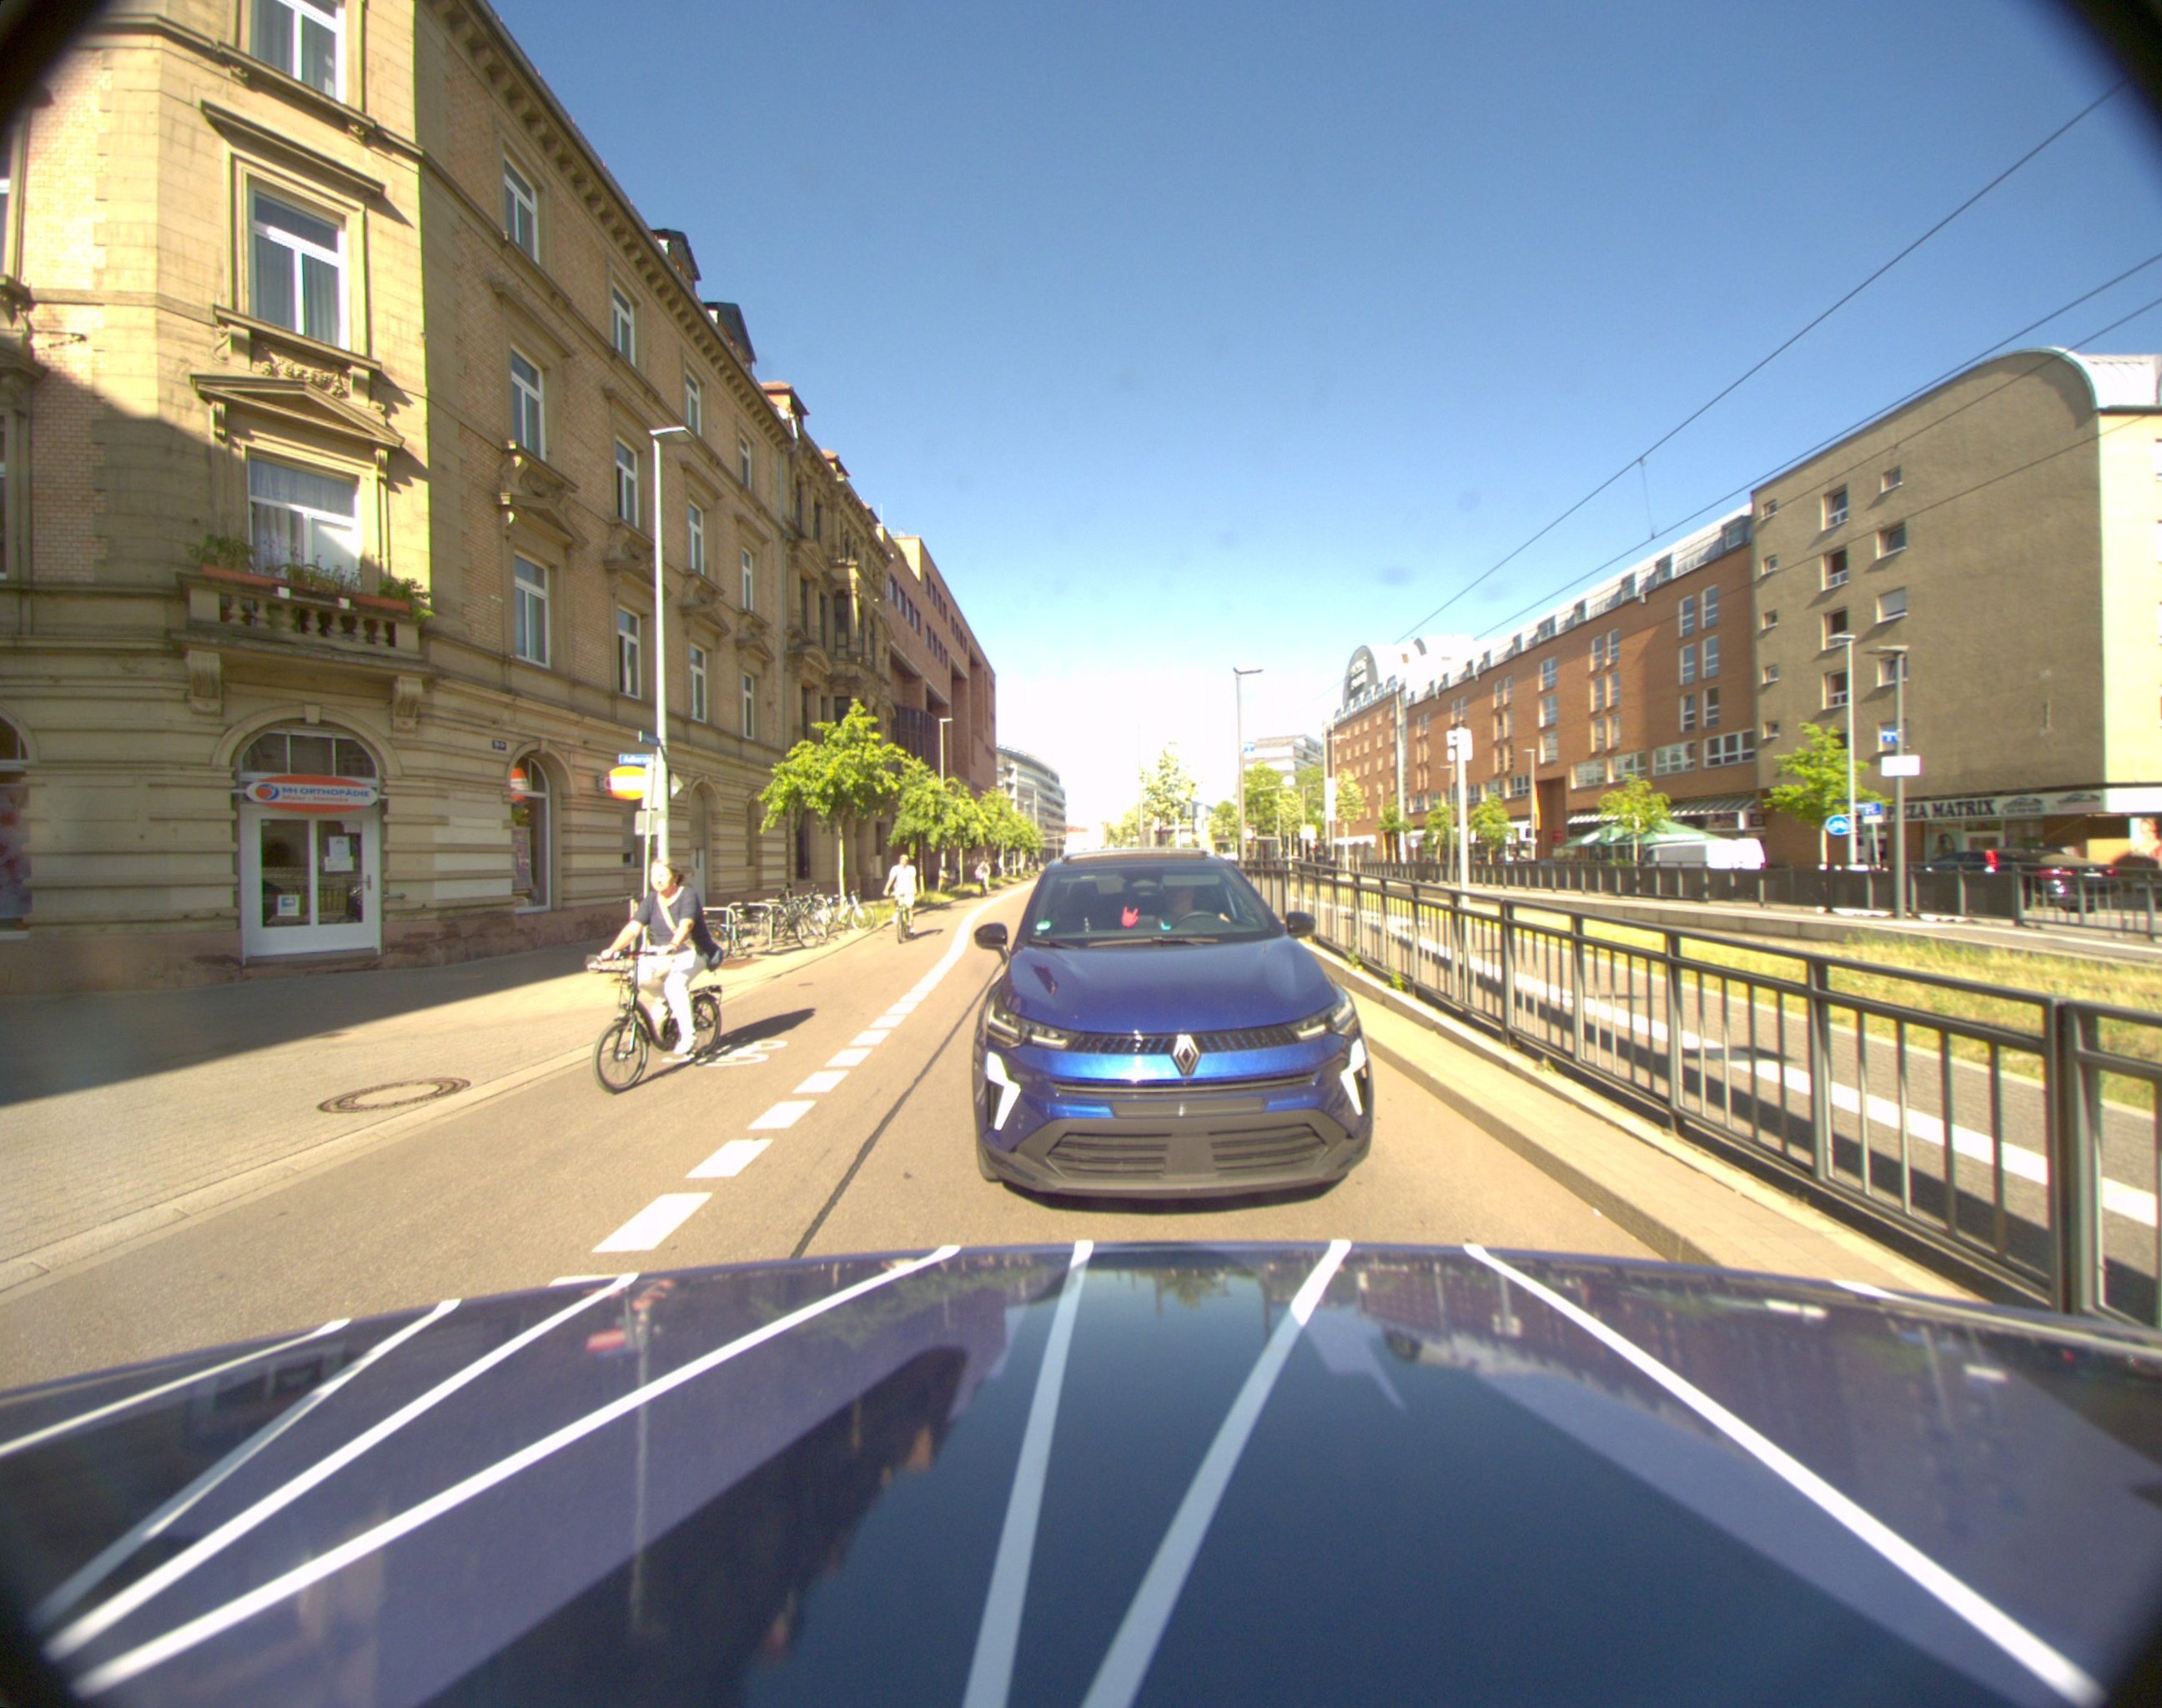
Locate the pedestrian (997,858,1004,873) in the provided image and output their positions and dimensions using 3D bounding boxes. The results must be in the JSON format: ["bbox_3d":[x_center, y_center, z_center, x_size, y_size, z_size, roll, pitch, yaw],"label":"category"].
[{"bbox_3d":[-8.011,1.143,75.400,0.633,1.478,0.736,-1,1,0],"label":"pedestrian"}]

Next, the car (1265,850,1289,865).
[{"bbox_3d":[24.483,0.437,95.191,1.998,1.674,3.999,-2,1,1],"label":"car"}]

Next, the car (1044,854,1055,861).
[{"bbox_3d":[-7.201,0.765,174.250,1.882,1.455,4.001,-2,1,7],"label":"car"}]

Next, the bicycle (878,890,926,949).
[{"bbox_3d":[-3.756,1.354,16.036,0.578,1.090,1.507,-3,0,0],"label":"bicycle"}]

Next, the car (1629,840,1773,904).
[{"bbox_3d":[25.344,0.671,31.412,1.997,2.356,5.649,-1,0,8],"label":"car"}]

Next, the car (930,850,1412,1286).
[{"bbox_3d":[0.379,0.828,4.945,1.802,1.596,3.999,-2,1,1],"label":"car"}]

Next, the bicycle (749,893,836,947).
[{"bbox_3d":[-6.132,1.394,16.194,1.603,1.039,0.607,1,0,4],"label":"bicycle"}]

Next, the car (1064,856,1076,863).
[{"bbox_3d":[-2.467,1.265,173.745,2.120,1.547,4.003,-1,0,9],"label":"car"}]

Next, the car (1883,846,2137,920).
[{"bbox_3d":[24.241,0.694,20.101,1.819,1.749,4.000,-1,0,0],"label":"car"}]

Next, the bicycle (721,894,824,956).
[{"bbox_3d":[-5.929,1.349,14.636,1.727,1.094,0.607,1,0,4],"label":"bicycle"}]

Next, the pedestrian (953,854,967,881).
[{"bbox_3d":[-8.353,0.921,52.586,0.790,1.872,1.106,-1,1,0],"label":"pedestrian"}]

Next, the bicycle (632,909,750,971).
[{"bbox_3d":[-6.399,1.396,12.499,1.673,0.938,0.607,0,0,8],"label":"bicycle"}]

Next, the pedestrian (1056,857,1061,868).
[{"bbox_3d":[-3.152,1.180,106.638,0.774,1.478,0.686,-1,0,1],"label":"pedestrian"}]

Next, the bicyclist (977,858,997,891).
[{"bbox_3d":[-4.678,1.003,37.761,0.755,1.607,0.762,-3,0,4],"label":"bicyclist"}]

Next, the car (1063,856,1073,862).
[{"bbox_3d":[-3.185,1.279,189.589,1.882,1.455,4.001,-2,1,7],"label":"car"}]

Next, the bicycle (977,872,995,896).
[{"bbox_3d":[-4.713,1.466,37.713,0.578,1.090,1.507,-3,0,3],"label":"bicycle"}]

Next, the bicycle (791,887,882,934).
[{"bbox_3d":[-6.025,1.385,18.806,2.001,1.086,0.846,1,0,-9],"label":"bicycle"}]

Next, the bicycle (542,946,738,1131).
[{"bbox_3d":[-3.263,1.312,5.790,0.558,1.021,1.507,-3,0,0],"label":"bicycle"}]

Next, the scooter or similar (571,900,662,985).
[{"bbox_3d":[-6.770,1.279,11.093,1.113,1.183,0.419,0,0,8],"label":"scooter or similar"}]

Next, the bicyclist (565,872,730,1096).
[{"bbox_3d":[-3.273,0.931,5.824,0.659,1.528,0.909,-3,0,0],"label":"bicyclist"}]

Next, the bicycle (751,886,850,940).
[{"bbox_3d":[-6.452,1.346,17.510,1.999,1.121,0.710,1,0,2],"label":"bicycle"}]

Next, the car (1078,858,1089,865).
[{"bbox_3d":[0.657,1.681,172.644,1.882,1.455,4.002,-2,1,8],"label":"car"}]

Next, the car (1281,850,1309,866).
[{"bbox_3d":[23.970,0.441,85.362,1.998,1.674,3.999,-2,1,1],"label":"car"}]

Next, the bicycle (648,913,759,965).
[{"bbox_3d":[-6.527,1.460,13.167,1.673,0.816,0.607,0,0,7],"label":"bicycle"}]

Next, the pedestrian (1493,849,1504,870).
[{"bbox_3d":[35.610,0.461,64.844,0.622,1.830,0.644,-1,1,-1],"label":"pedestrian"}]

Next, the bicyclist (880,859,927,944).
[{"bbox_3d":[-3.767,0.987,16.179,0.684,1.718,0.909,-3,0,0],"label":"bicyclist"}]
